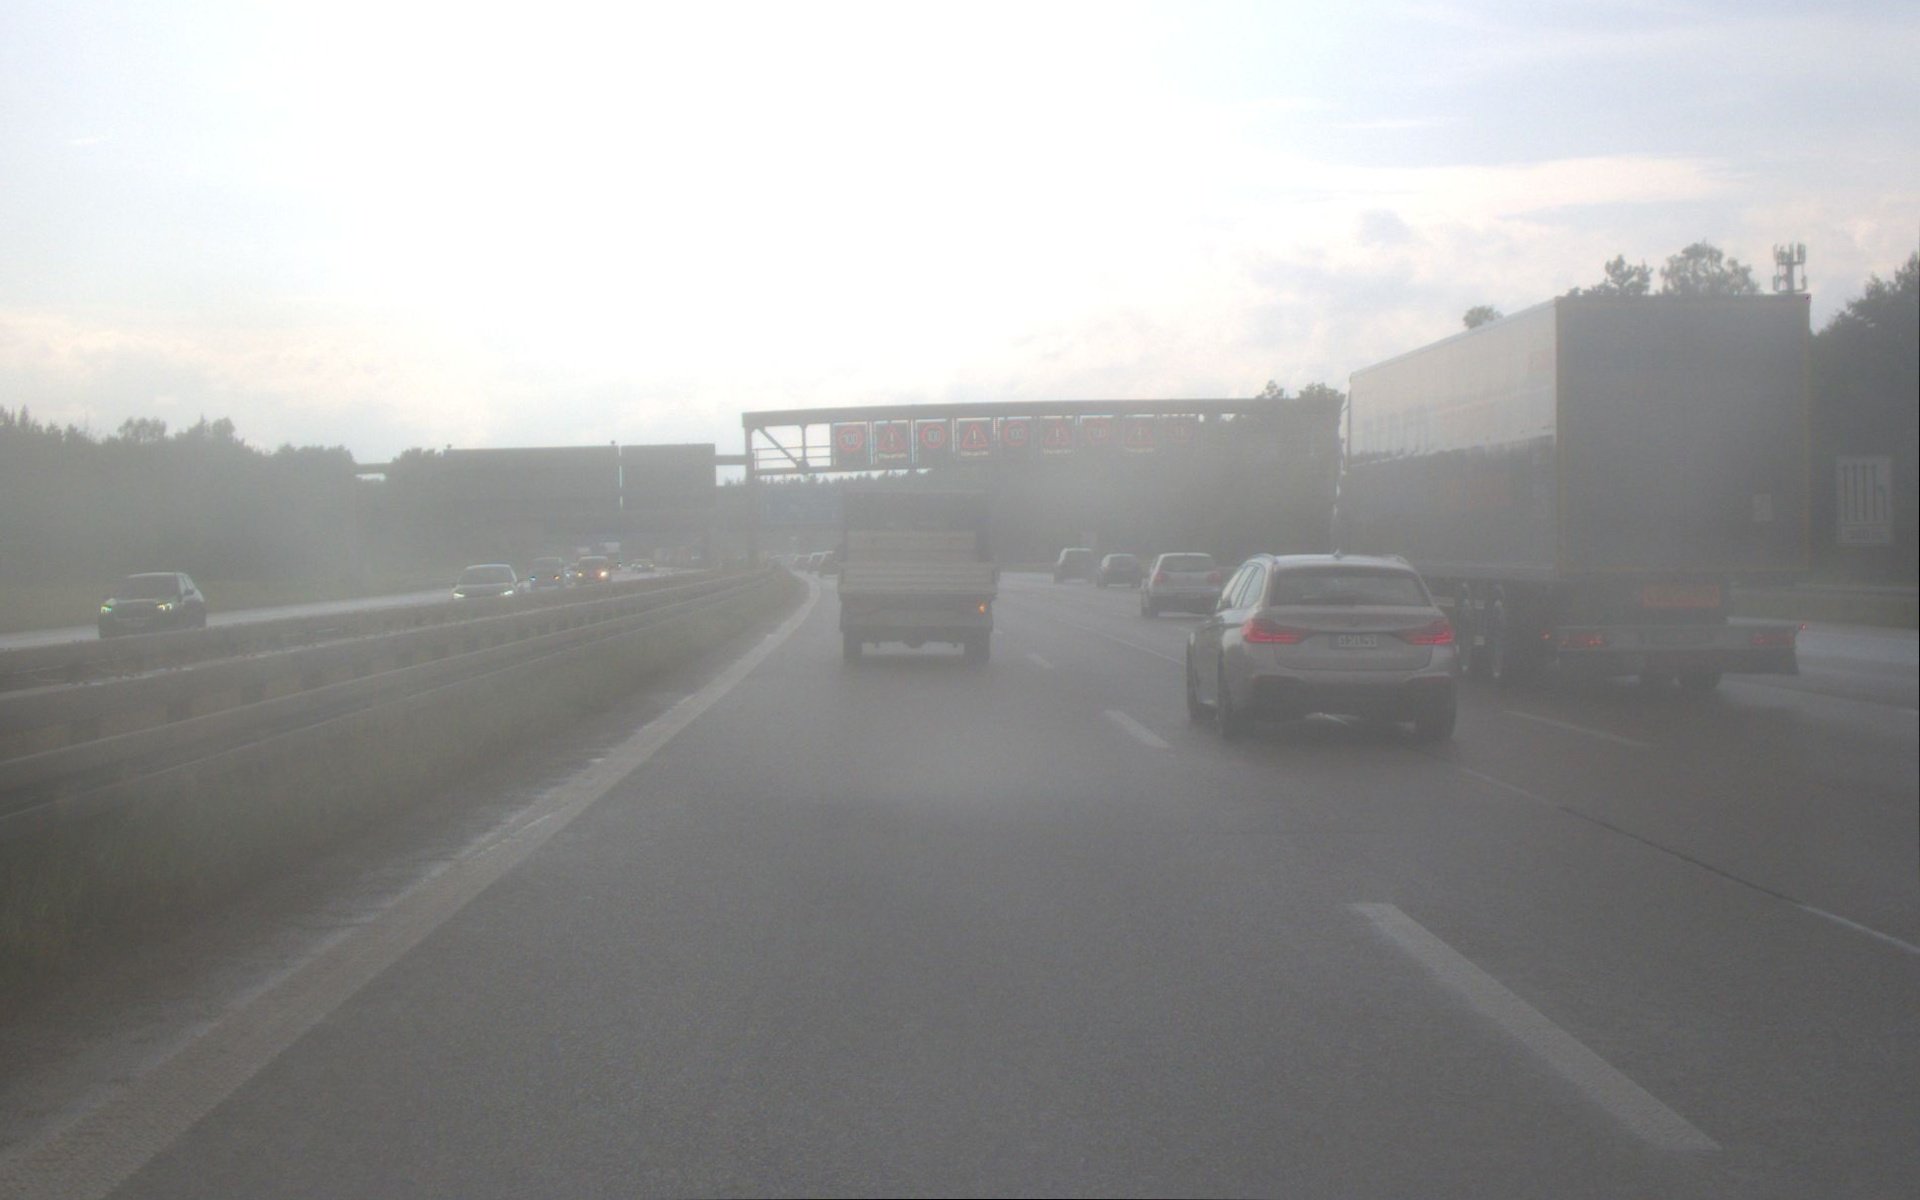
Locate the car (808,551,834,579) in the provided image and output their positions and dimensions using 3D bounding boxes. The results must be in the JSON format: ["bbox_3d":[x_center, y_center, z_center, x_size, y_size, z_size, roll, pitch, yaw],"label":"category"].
[{"bbox_3d":[-10.343,-2.605,256.655,1.794,2.007,4.000,1,1,-1],"label":"car"}]

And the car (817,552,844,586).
[{"bbox_3d":[-8.010,-1.917,212.066,1.617,2.007,4.001,1,1,-2],"label":"car"}]

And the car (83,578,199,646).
[{"bbox_3d":[-18.934,0.253,79.620,1.874,1.467,4.000,-2,1,-3],"label":"car"}]

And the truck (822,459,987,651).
[{"bbox_3d":[-0.699,-0.634,47.372,2.137,2.480,5.313,0,1,0],"label":"truck"}]

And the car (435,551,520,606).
[{"bbox_3d":[-12.893,-0.588,92.050,1.874,1.426,4.000,-1,1,-3],"label":"car"}]

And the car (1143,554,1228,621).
[{"bbox_3d":[5.145,-0.304,78.770,1.831,1.461,4.000,1,1,2],"label":"car"}]

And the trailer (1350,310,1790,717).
[{"bbox_3d":[6.745,-0.936,40.449,2.323,3.988,13.413,0,1,-2],"label":"trailer"}]

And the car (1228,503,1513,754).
[{"bbox_3d":[3.319,0.164,28.700,2.078,1.878,5.011,1,1,4],"label":"car"}]

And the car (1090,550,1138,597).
[{"bbox_3d":[6.793,-1.169,152.222,1.993,2.007,4.000,1,1,1],"label":"car"}]

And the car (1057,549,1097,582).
[{"bbox_3d":[5.944,-1.763,174.897,1.740,1.683,4.000,0,1,-2],"label":"car"}]

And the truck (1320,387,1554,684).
[{"bbox_3d":[6.497,-0.874,47.454,2.293,3.854,5.393,0,1,-2],"label":"truck"}]
